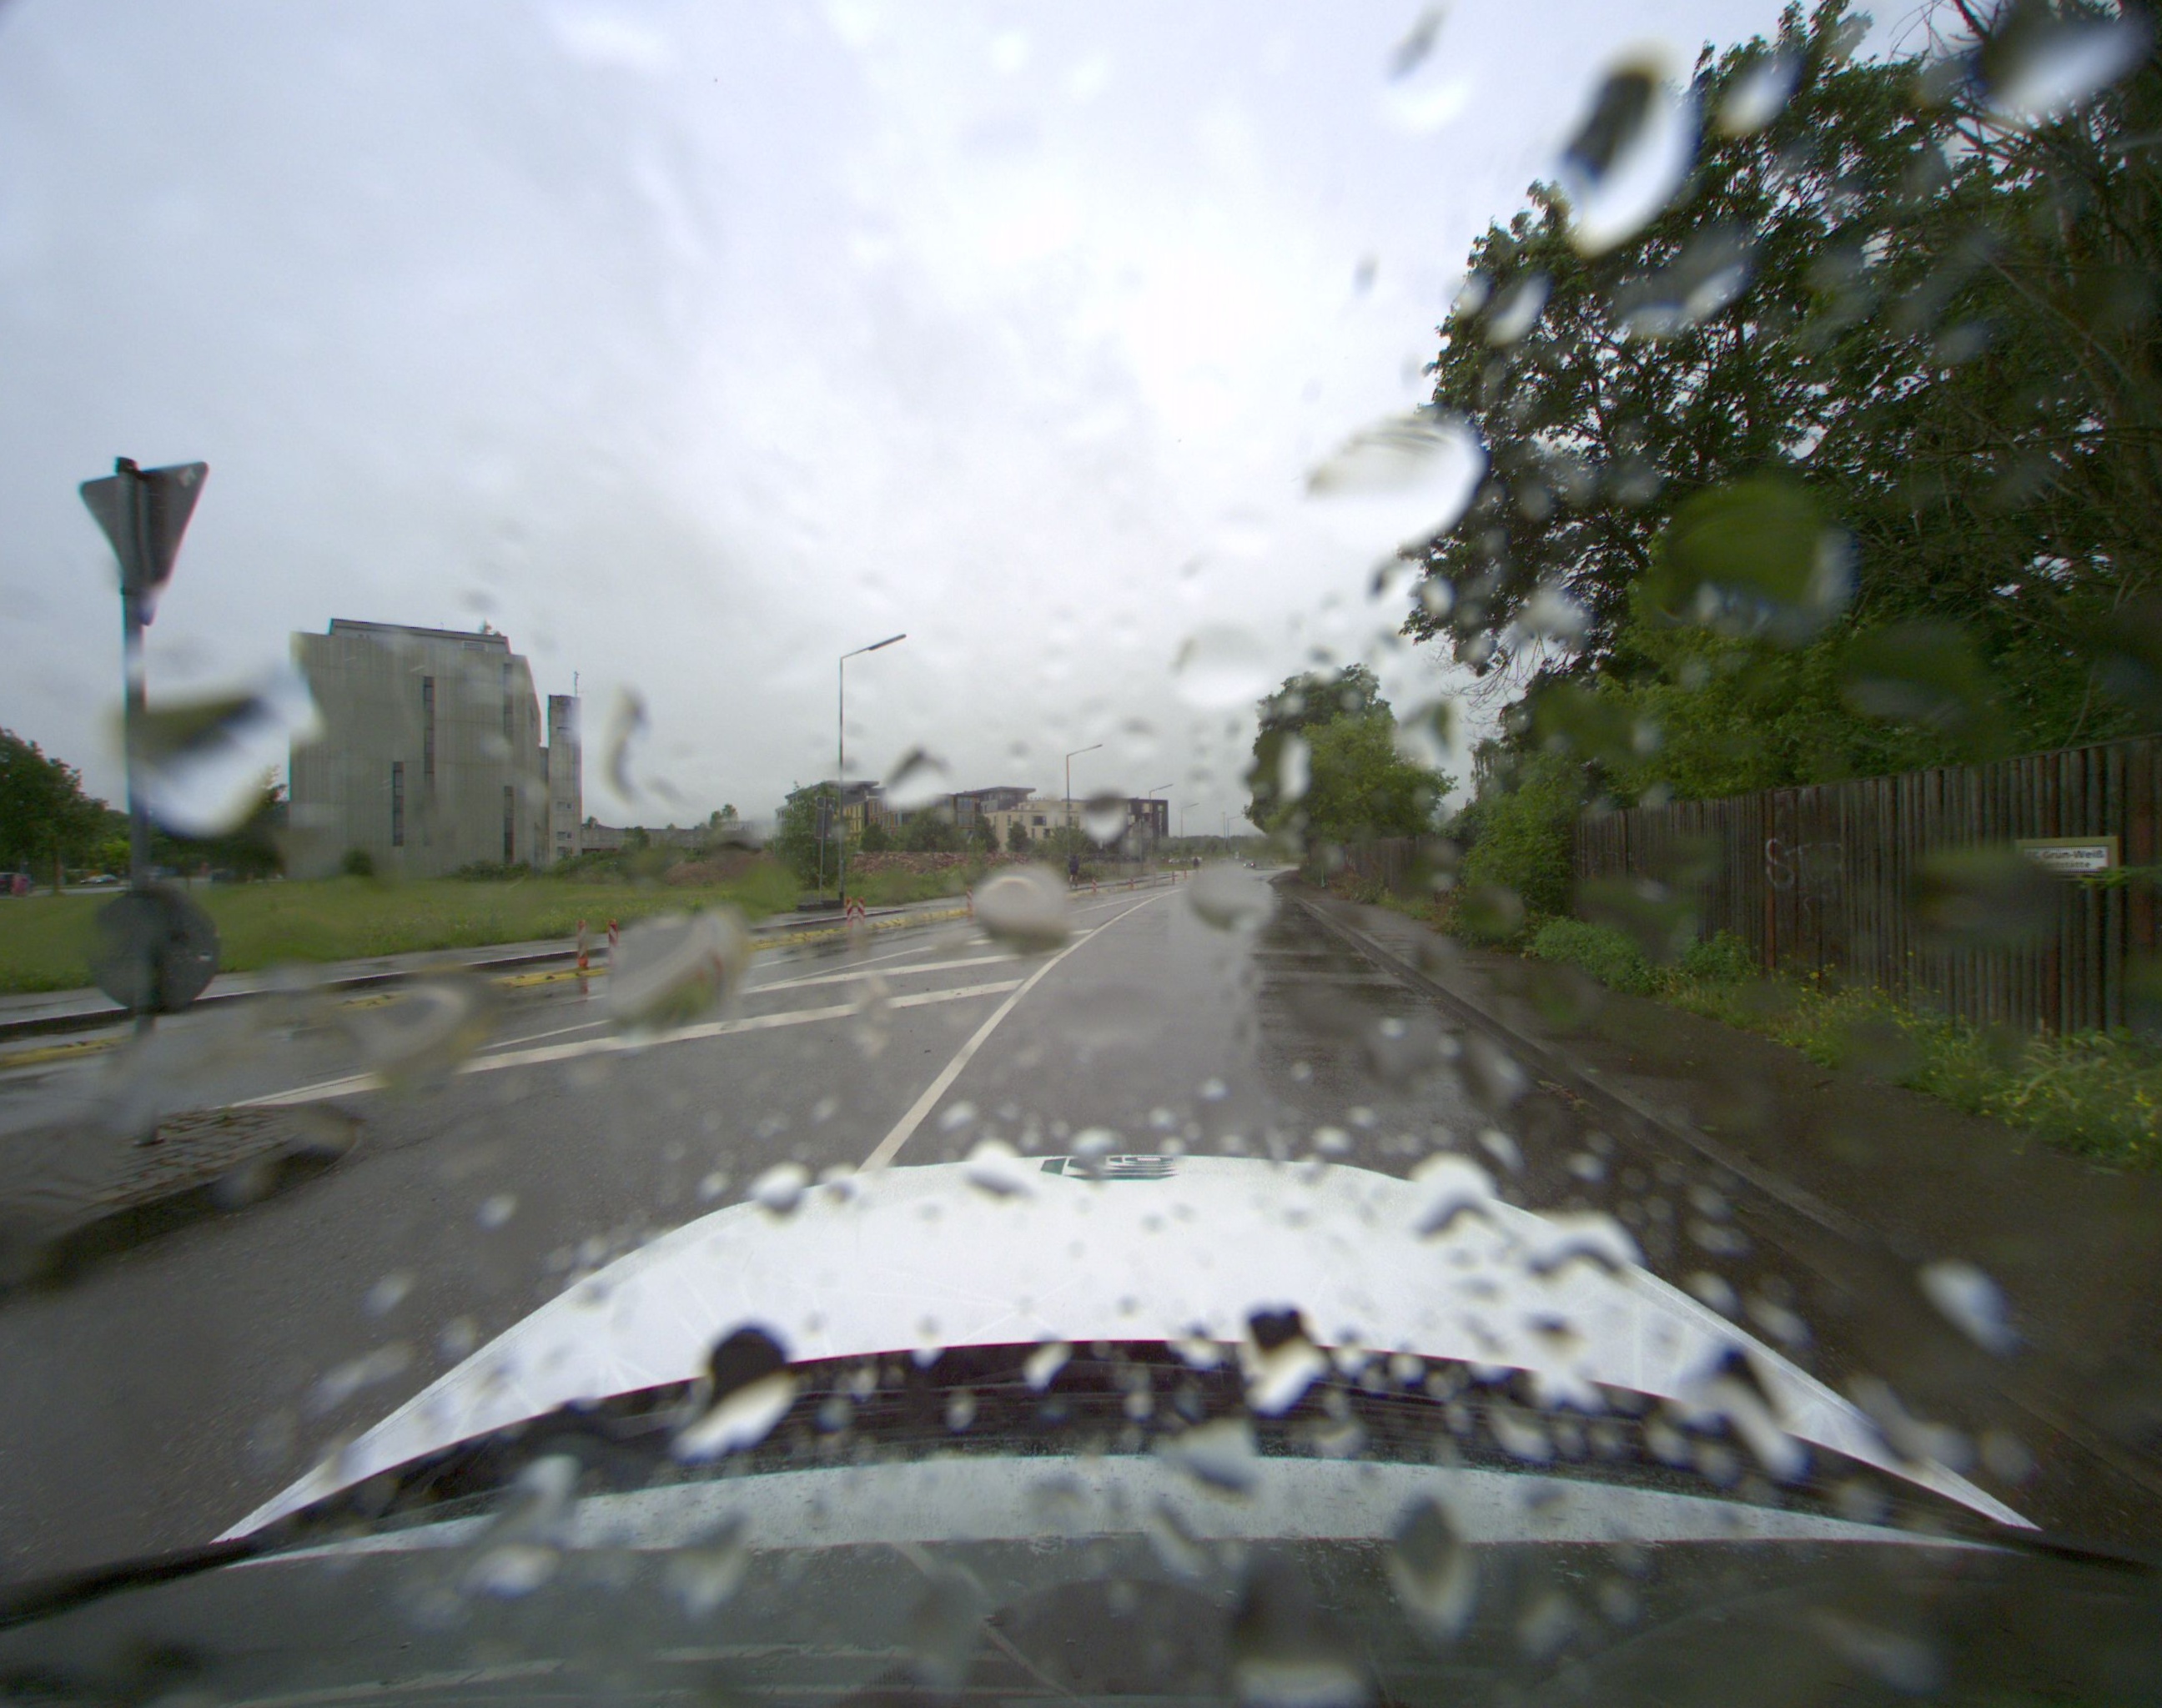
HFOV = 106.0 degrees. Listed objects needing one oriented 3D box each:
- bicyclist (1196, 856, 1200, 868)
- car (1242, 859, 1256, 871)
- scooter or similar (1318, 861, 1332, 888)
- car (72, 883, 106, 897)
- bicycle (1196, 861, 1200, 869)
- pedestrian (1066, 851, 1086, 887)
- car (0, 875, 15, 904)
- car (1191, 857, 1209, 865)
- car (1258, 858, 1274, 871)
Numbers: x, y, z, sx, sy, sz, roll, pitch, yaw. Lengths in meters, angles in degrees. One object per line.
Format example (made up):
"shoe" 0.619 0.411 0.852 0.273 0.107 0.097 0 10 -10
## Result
"bicyclist" 14.211 0.985 98.722 0.441 1.404 0.552 -1 -3 11
"car" 25.793 1.615 124.907 1.979 1.772 4.016 -1 -1 15
"scooter or similar" 11.249 0.938 37.580 0.488 1.235 1.375 -1 -1 12
"car" -118.223 4.273 97.067 1.798 1.682 3.953 2 -4 -40
"bicycle" 14.216 1.321 98.616 0.424 1.019 1.616 -1 -1 10
"pedestrian" -0.296 0.888 47.033 0.839 2.014 1.137 -1 -3 19
"car" -69.082 2.270 50.338 1.792 1.811 4.798 0 -1 -24
"car" 28.821 1.772 196.896 4.011 1.772 1.981 1 -3 -29
"car" 28.415 1.585 124.936 1.978 1.772 4.017 -1 -3 17
